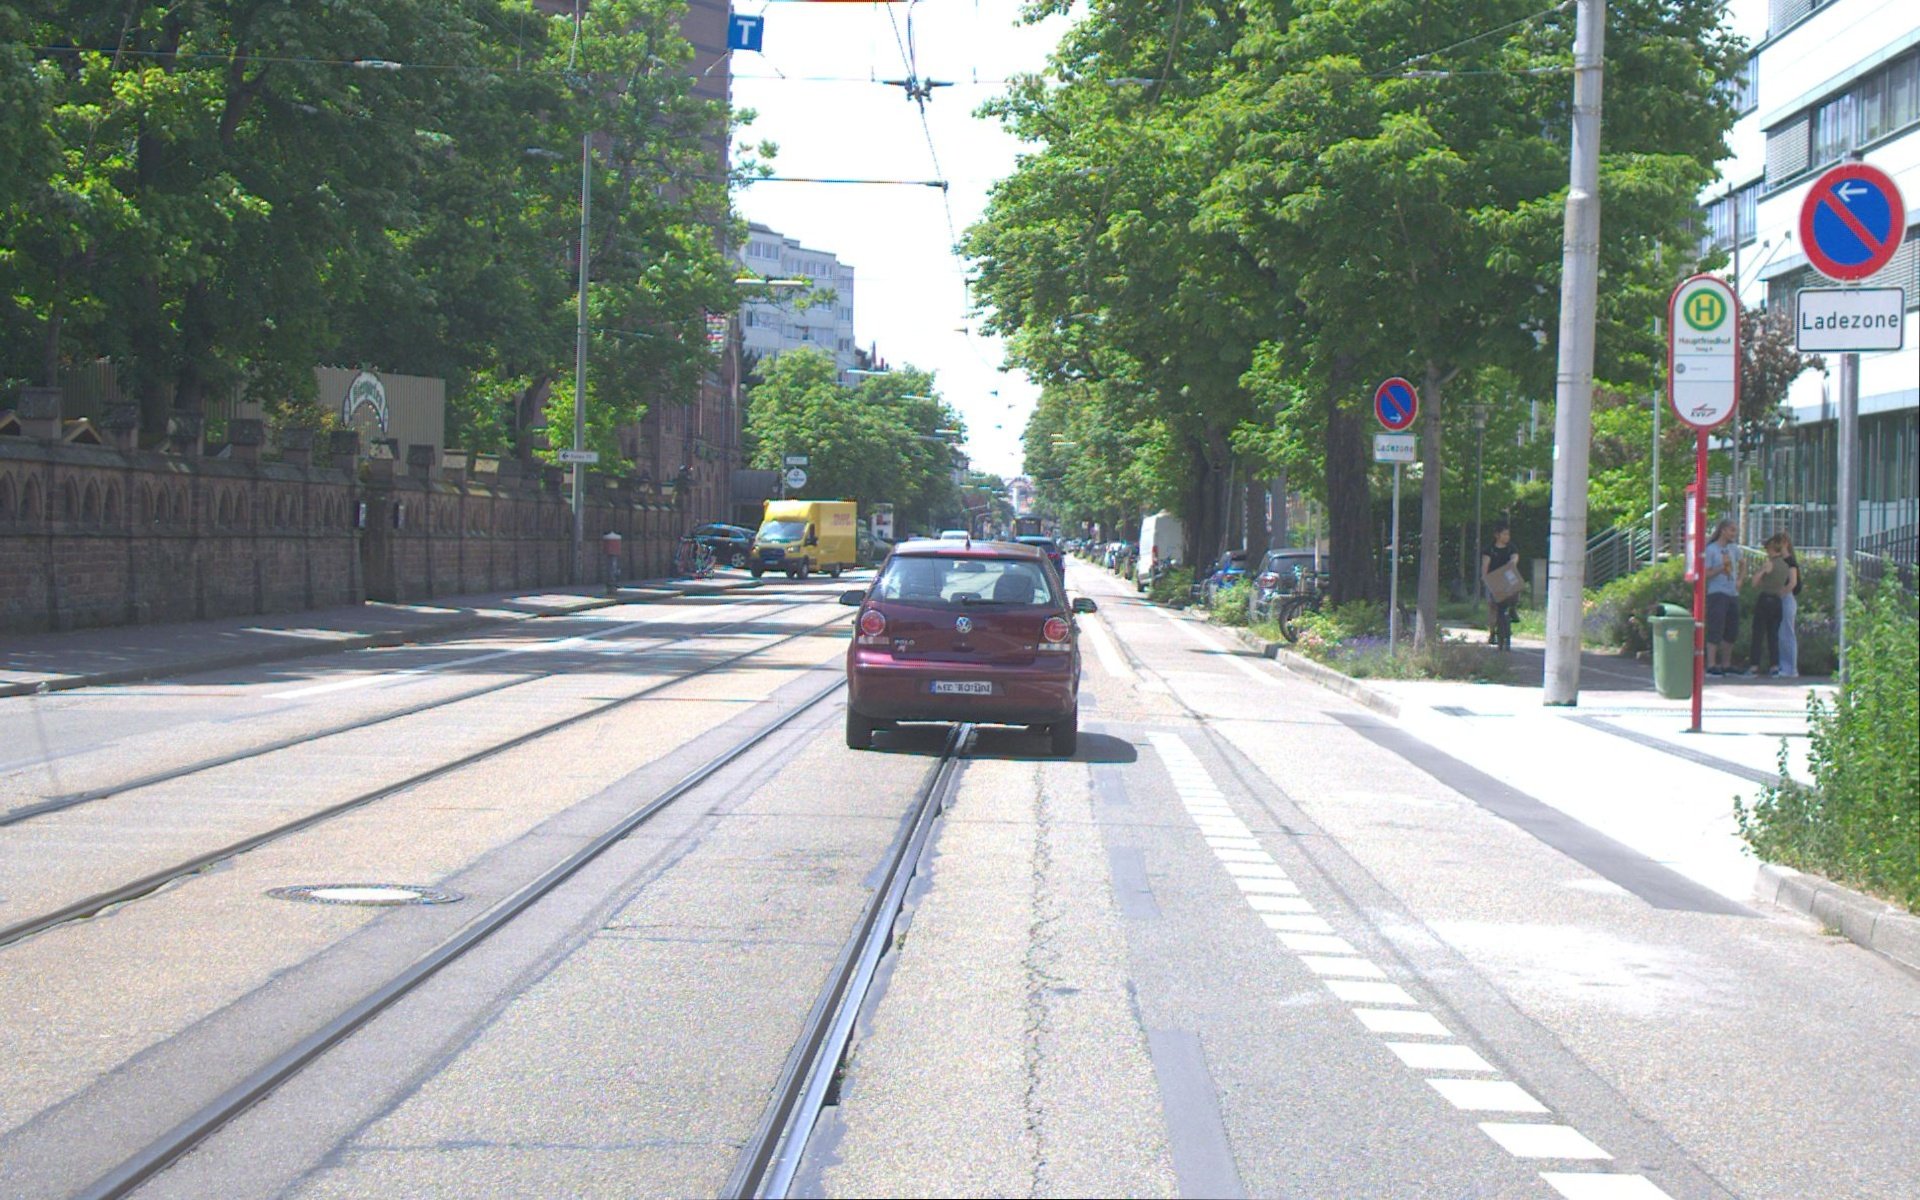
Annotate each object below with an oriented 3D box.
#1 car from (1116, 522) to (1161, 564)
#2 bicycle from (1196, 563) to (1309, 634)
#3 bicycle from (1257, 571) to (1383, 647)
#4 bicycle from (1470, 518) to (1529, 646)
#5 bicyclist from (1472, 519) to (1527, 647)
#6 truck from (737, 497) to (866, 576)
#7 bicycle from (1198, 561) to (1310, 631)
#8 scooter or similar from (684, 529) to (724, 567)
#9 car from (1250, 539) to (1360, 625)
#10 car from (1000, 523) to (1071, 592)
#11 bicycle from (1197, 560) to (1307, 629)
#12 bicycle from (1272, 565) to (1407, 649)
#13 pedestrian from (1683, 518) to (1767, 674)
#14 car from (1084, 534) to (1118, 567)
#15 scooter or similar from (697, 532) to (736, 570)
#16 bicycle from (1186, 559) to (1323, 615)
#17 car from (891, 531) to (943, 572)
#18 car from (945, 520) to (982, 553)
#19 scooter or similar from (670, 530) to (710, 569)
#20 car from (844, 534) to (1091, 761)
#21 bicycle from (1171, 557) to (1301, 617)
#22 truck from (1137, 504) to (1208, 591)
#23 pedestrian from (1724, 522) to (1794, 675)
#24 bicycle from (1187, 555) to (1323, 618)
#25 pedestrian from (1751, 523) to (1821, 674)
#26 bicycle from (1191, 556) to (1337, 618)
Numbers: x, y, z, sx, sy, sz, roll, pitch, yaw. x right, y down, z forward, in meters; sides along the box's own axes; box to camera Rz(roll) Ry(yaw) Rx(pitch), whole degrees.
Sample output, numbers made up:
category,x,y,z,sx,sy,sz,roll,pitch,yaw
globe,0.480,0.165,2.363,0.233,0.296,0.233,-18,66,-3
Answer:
category,x,y,z,sx,sy,sz,roll,pitch,yaw
car,7.429,-2.389,143.118,1.674,1.650,4.000,3,1,1
bicycle,4.668,-0.022,54.898,1.751,1.081,0.548,1,1,2
bicycle,5.332,0.135,51.030,1.825,1.081,0.718,1,0,5
bicycle,7.671,-0.254,48.896,0.690,1.779,1.810,0,0,5
bicyclist,7.678,-0.242,48.951,0.696,1.793,0.887,0,0,5
truck,-5.801,-2.305,126.854,2.371,2.777,7.313,2,1,17
bicycle,4.782,-0.065,55.933,1.751,1.081,0.548,1,1,2
scooter or similar,-8.092,-1.655,108.703,1.088,1.151,0.527,2,1,-19
car,6.198,-0.347,62.065,1.688,1.498,3.627,0,1,1
car,2.332,-1.343,107.392,1.993,2.007,4.000,3,1,-1
bicycle,4.800,-0.096,56.621,1.751,1.081,0.548,1,1,2
bicycle,5.500,0.101,49.913,1.883,1.178,0.694,1,1,2
pedestrian,8.850,-0.052,39.770,0.677,1.790,0.675,-1,1,-30
car,7.531,-2.651,184.092,1.674,1.650,4.000,3,1,1
scooter or similar,-7.805,-1.564,110.142,1.088,1.151,0.527,2,1,-19
bicycle,6.827,-0.303,79.833,3.069,1.150,0.782,3,1,0
car,-1.634,-1.874,131.771,1.770,1.510,4.000,1,1,2
car,0.190,-3.694,199.343,1.993,1.848,4.682,1,1,1
scooter or similar,-8.341,-1.563,106.163,1.088,1.151,0.527,2,1,-19
car,0.077,0.282,25.063,1.619,1.481,4.000,1,1,1
bicycle,6.775,-0.331,84.431,3.069,1.308,0.782,3,1,0
truck,6.900,-1.728,111.878,1.993,2.652,4.875,3,1,1
pedestrian,9.048,-0.022,38.939,0.537,1.709,0.566,0,0,-28
bicycle,6.949,-0.316,81.060,3.069,1.308,0.782,3,1,0
pedestrian,9.430,-0.016,39.264,0.537,1.709,0.566,0,0,-28
bicycle,7.285,-0.317,82.420,3.367,1.308,0.782,3,1,0
